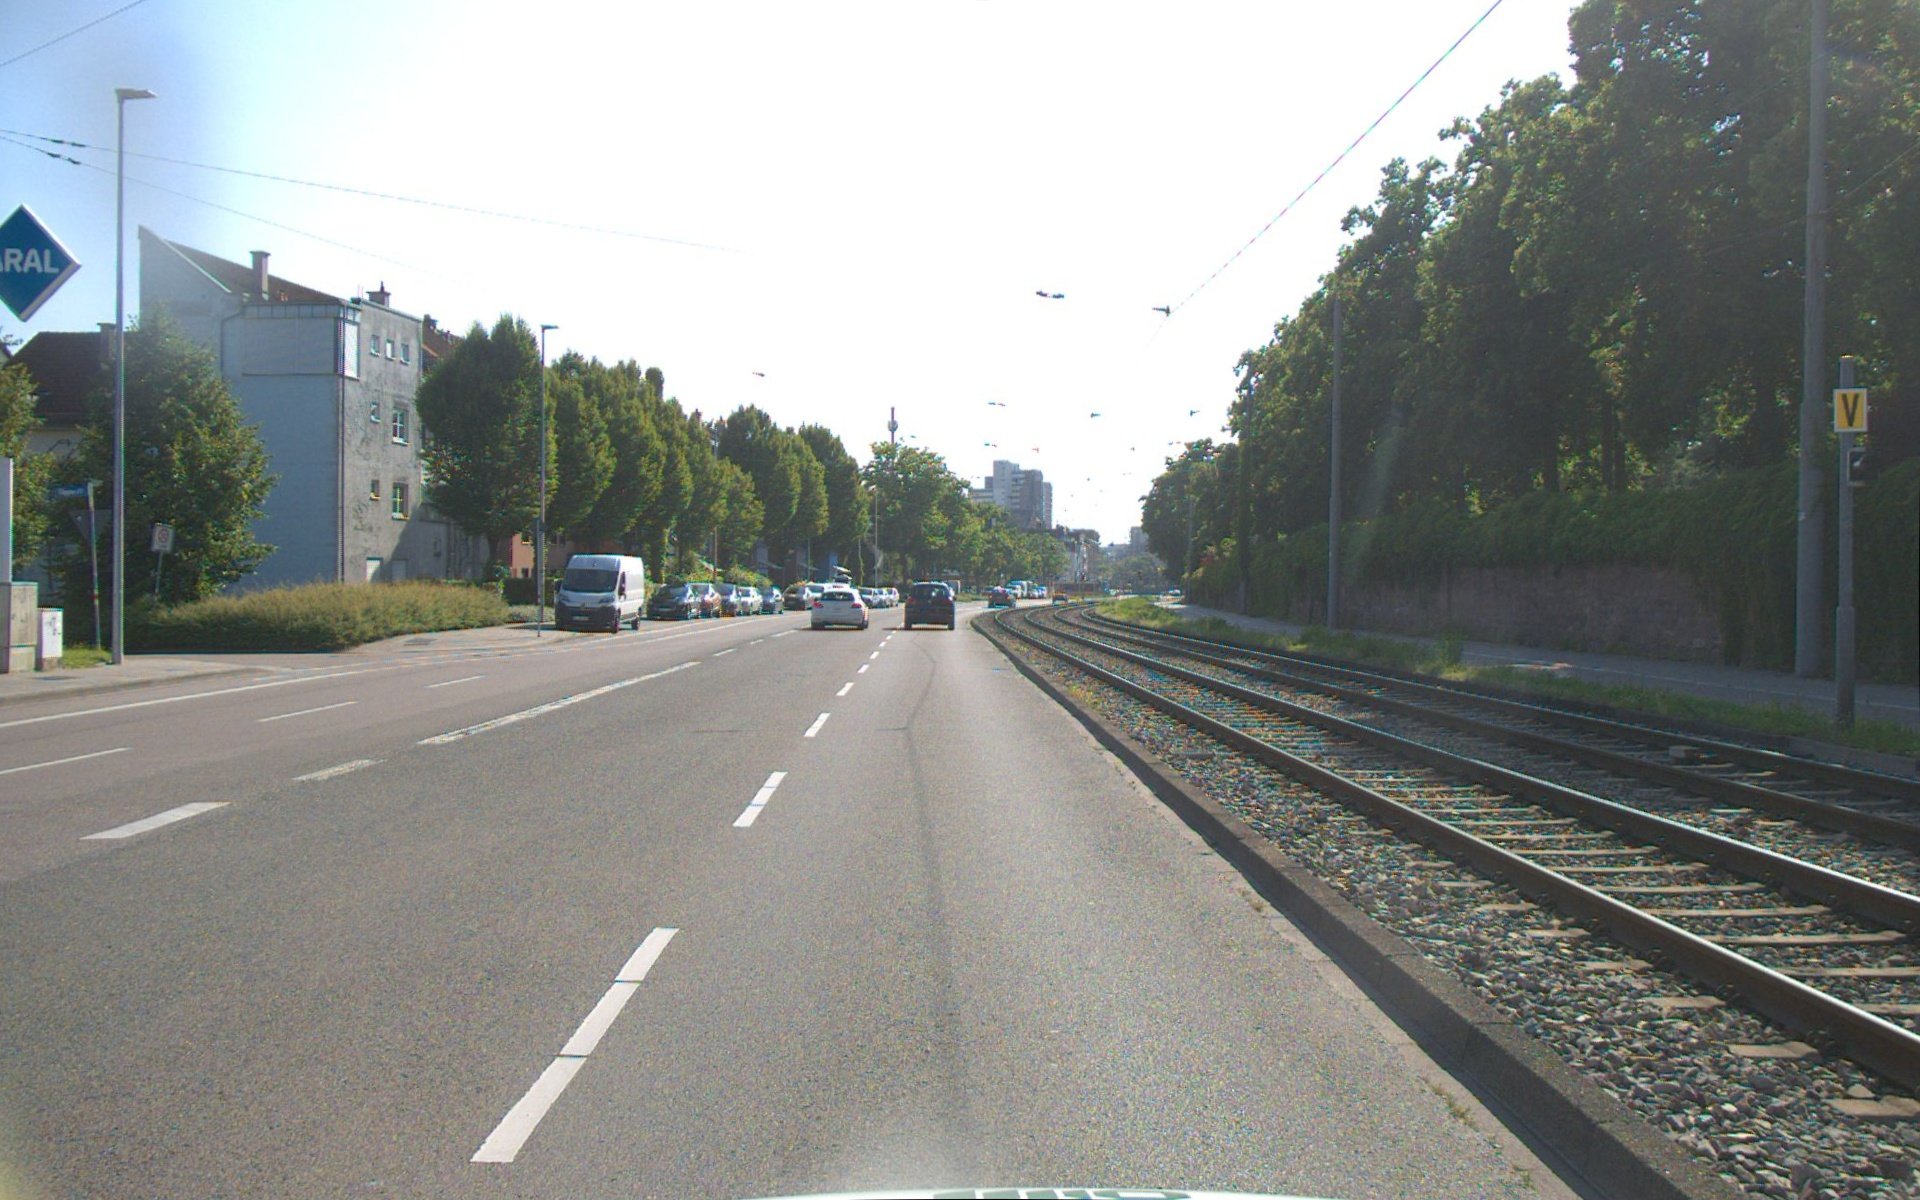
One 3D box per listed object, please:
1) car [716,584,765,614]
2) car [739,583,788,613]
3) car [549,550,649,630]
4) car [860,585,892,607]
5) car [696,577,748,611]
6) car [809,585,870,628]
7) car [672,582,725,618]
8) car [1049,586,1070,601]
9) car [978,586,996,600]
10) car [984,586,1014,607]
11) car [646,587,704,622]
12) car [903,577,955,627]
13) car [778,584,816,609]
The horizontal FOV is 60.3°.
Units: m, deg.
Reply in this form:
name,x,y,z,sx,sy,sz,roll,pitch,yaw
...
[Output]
name,x,y,z,sx,sy,sz,roll,pitch,yaw
car,-11.630,-0.046,87.762,1.677,1.497,4.846,2,0,3
car,-11.089,-0.104,93.627,1.827,1.571,4.912,3,1,4
car,-12.176,-0.361,56.203,2.109,2.500,6.182,2,1,-2
car,-6.646,-0.302,131.240,1.726,1.565,3.984,5,1,8
car,-11.834,-0.296,82.499,1.726,1.601,4.301,3,0,3
car,-4.085,0.189,56.447,1.827,1.371,4.000,1,0,-1
car,-12.099,-0.006,76.783,1.726,1.601,4.162,1,0,1
car,10.834,-0.720,179.896,1.773,1.474,4.004,2,1,11
car,3.369,-0.913,206.184,1.695,1.687,4.004,0,0,10
car,2.901,-0.269,123.054,1.773,1.474,4.003,2,1,7
car,-12.188,0.165,71.037,1.618,1.449,4.714,0,1,1
car,-1.098,0.057,59.101,1.774,1.673,3.999,1,0,-1
car,-10.310,-0.206,104.962,1.582,1.491,4.061,2,0,6
